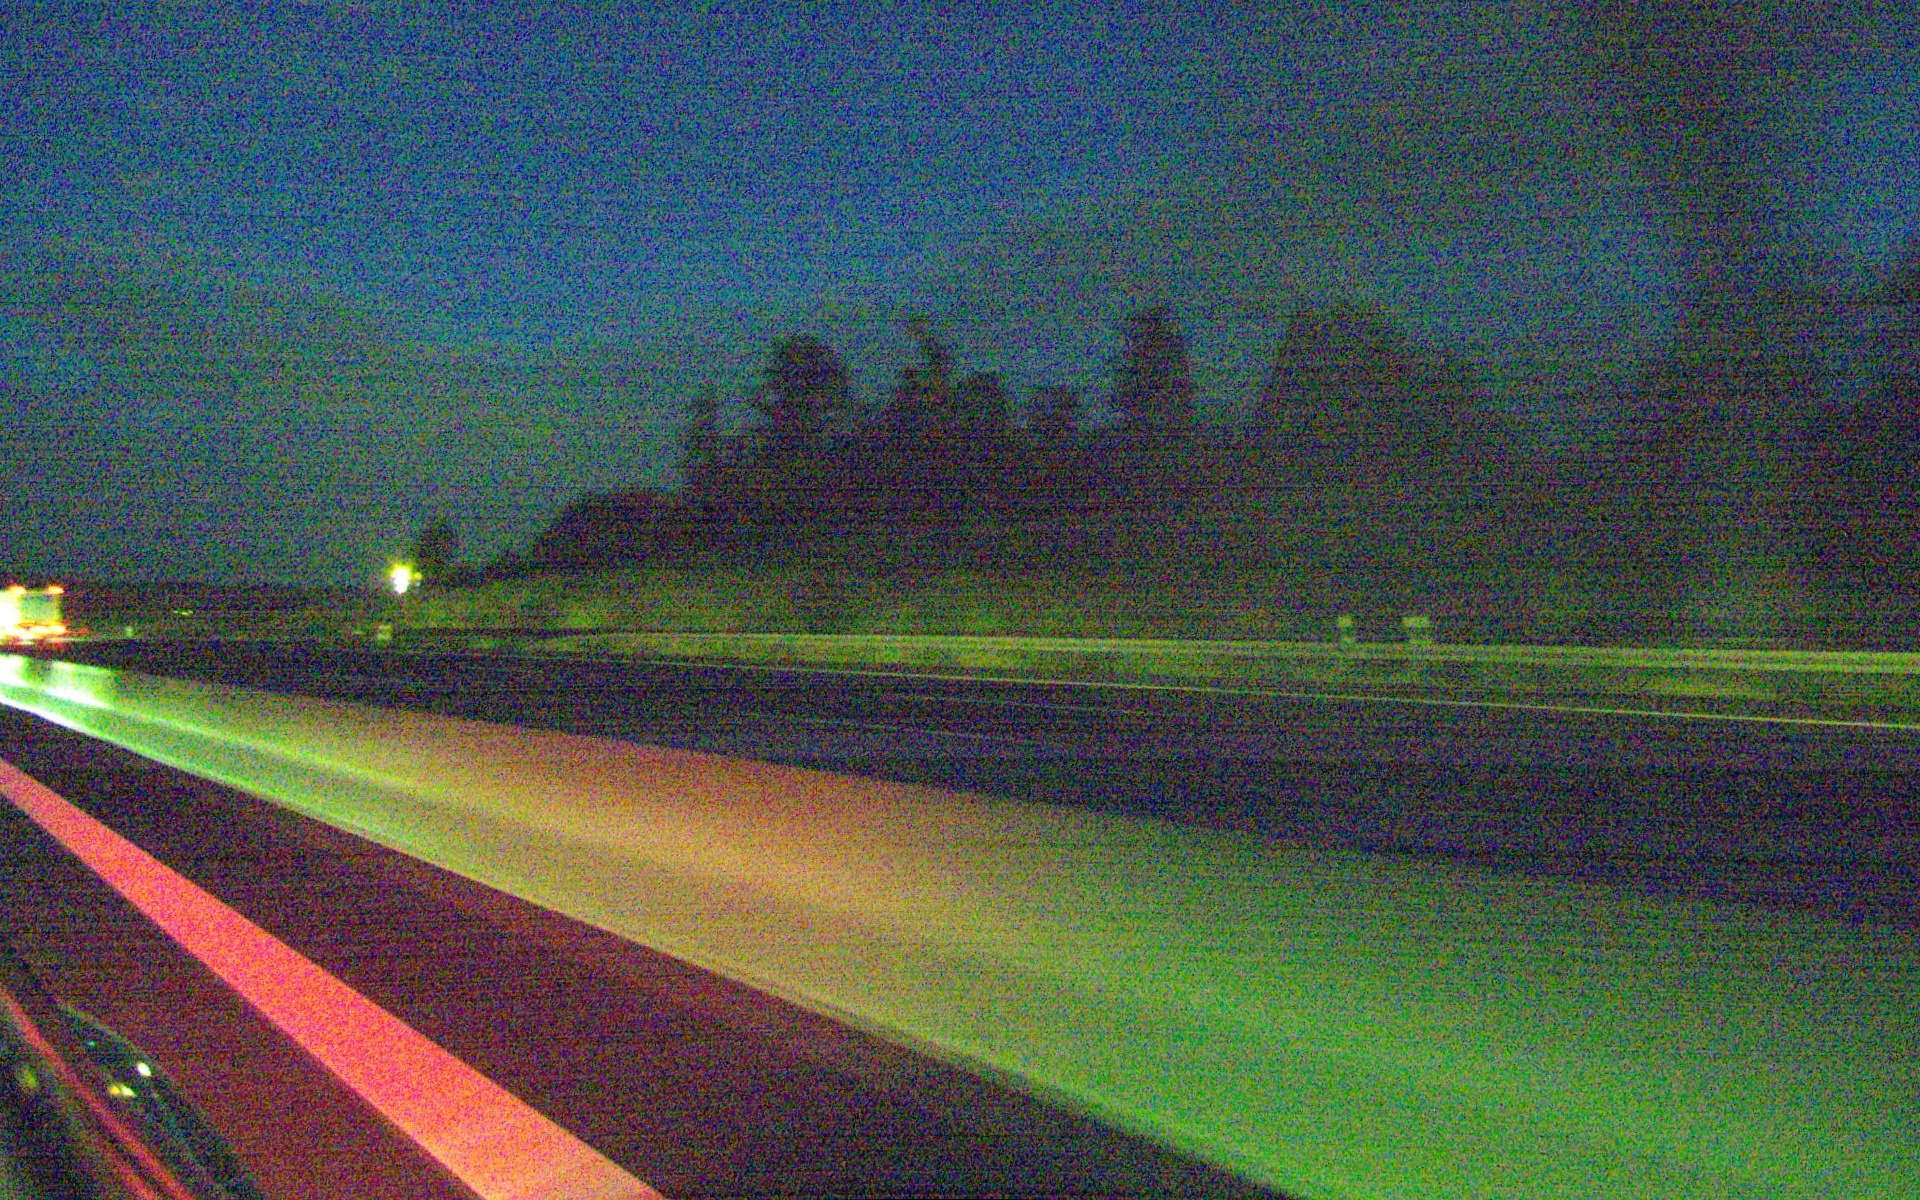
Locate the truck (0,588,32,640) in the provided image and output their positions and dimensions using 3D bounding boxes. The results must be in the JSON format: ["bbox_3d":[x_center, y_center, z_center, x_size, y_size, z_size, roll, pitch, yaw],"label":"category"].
[{"bbox_3d":[-85.174,1.245,90.128,6.389,4.467,2.825,-1,0,39],"label":"truck"}]

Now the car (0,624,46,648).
[{"bbox_3d":[-60.457,2.271,65.116,4.129,1.464,1.795,-1,-1,39],"label":"car"}]

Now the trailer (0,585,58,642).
[{"bbox_3d":[-79.918,1.162,85.869,13.964,4.467,2.825,-1,0,39],"label":"trailer"}]
